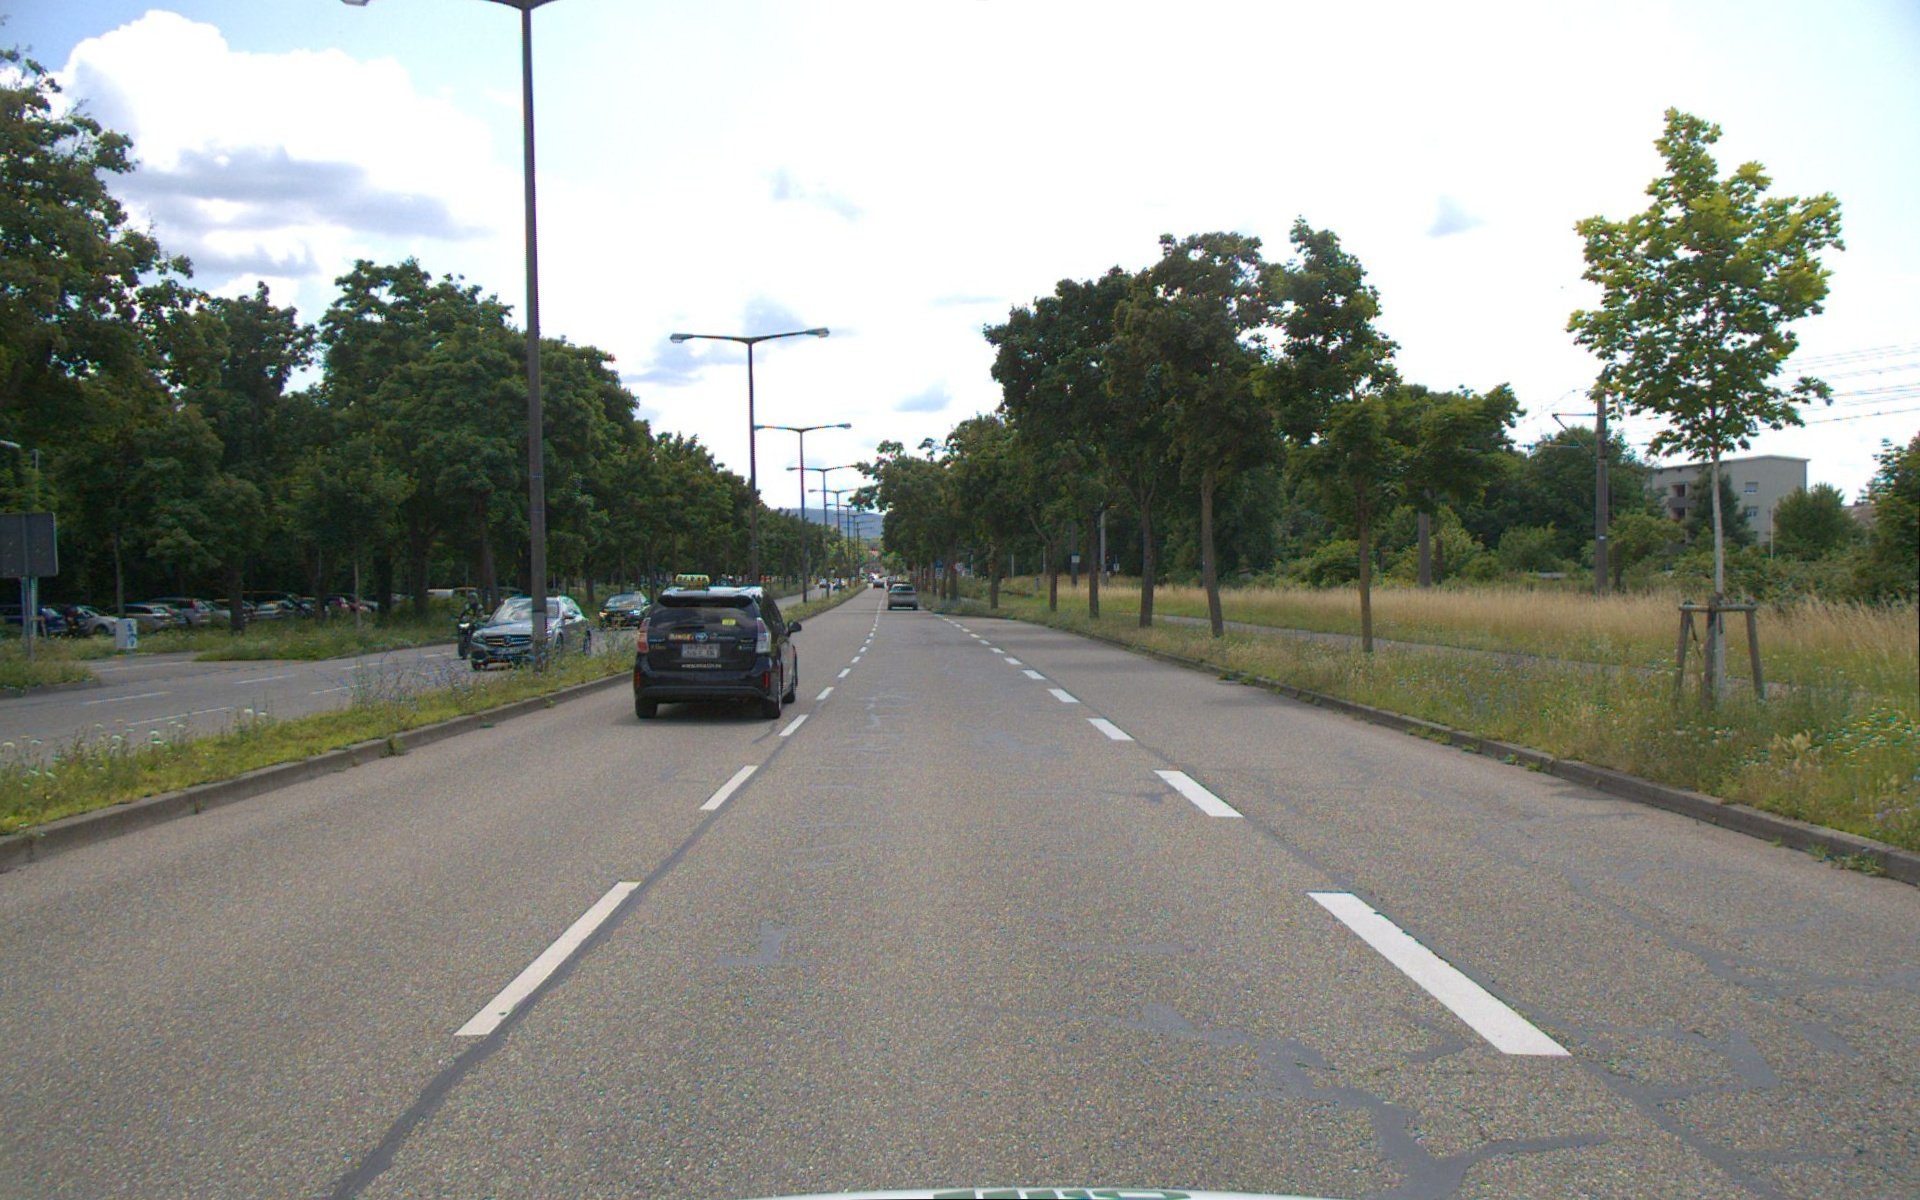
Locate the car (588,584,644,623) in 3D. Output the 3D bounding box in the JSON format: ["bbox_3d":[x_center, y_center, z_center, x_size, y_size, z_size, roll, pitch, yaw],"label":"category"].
[{"bbox_3d":[-13.933,0.121,67.162,1.720,1.484,4.465,0,1,-5],"label":"car"}]

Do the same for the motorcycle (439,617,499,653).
[{"bbox_3d":[-12.329,0.873,41.608,0.736,0.785,2.671,0,1,-1],"label":"motorcycle"}]

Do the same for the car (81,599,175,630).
[{"bbox_3d":[-40.631,0.694,80.806,3.706,1.412,1.786,0,1,2],"label":"car"}]

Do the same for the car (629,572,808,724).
[{"bbox_3d":[-2.944,0.518,20.900,1.743,1.713,3.999,0,1,-1],"label":"car"}]

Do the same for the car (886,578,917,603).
[{"bbox_3d":[-3.811,-0.621,107.986,1.954,1.534,3.998,0,1,-3],"label":"car"}]

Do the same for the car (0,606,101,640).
[{"bbox_3d":[-40.520,1.030,73.533,3.706,1.412,1.786,0,1,2],"label":"car"}]

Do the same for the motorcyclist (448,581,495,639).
[{"bbox_3d":[-12.325,0.245,41.747,0.810,1.438,1.328,0,1,-1],"label":"motorcyclist"}]

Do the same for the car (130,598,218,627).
[{"bbox_3d":[-41.008,0.633,86.335,3.706,1.412,1.786,0,1,2],"label":"car"}]

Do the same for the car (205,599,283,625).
[{"bbox_3d":[-41.011,0.659,94.806,3.706,1.412,1.786,0,1,2],"label":"car"}]

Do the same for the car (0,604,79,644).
[{"bbox_3d":[-40.159,1.016,70.979,3.706,1.595,1.786,0,1,2],"label":"car"}]

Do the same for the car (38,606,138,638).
[{"bbox_3d":[-40.334,1.016,76.541,3.706,1.412,1.786,0,1,2],"label":"car"}]

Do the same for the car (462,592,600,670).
[{"bbox_3d":[-9.014,0.601,35.123,1.774,1.422,4.732,-1,1,-1],"label":"car"}]

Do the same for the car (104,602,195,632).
[{"bbox_3d":[-40.716,0.864,83.100,3.705,1.412,1.786,0,1,3],"label":"car"}]

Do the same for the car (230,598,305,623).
[{"bbox_3d":[-41.309,0.594,98.646,3.706,1.412,1.786,0,1,2],"label":"car"}]

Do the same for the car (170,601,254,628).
[{"bbox_3d":[-40.664,0.766,89.968,3.706,1.412,1.786,0,1,2],"label":"car"}]

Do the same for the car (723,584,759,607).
[{"bbox_3d":[-14.937,-0.328,113.017,1.840,1.534,3.799,0,1,2],"label":"car"}]
